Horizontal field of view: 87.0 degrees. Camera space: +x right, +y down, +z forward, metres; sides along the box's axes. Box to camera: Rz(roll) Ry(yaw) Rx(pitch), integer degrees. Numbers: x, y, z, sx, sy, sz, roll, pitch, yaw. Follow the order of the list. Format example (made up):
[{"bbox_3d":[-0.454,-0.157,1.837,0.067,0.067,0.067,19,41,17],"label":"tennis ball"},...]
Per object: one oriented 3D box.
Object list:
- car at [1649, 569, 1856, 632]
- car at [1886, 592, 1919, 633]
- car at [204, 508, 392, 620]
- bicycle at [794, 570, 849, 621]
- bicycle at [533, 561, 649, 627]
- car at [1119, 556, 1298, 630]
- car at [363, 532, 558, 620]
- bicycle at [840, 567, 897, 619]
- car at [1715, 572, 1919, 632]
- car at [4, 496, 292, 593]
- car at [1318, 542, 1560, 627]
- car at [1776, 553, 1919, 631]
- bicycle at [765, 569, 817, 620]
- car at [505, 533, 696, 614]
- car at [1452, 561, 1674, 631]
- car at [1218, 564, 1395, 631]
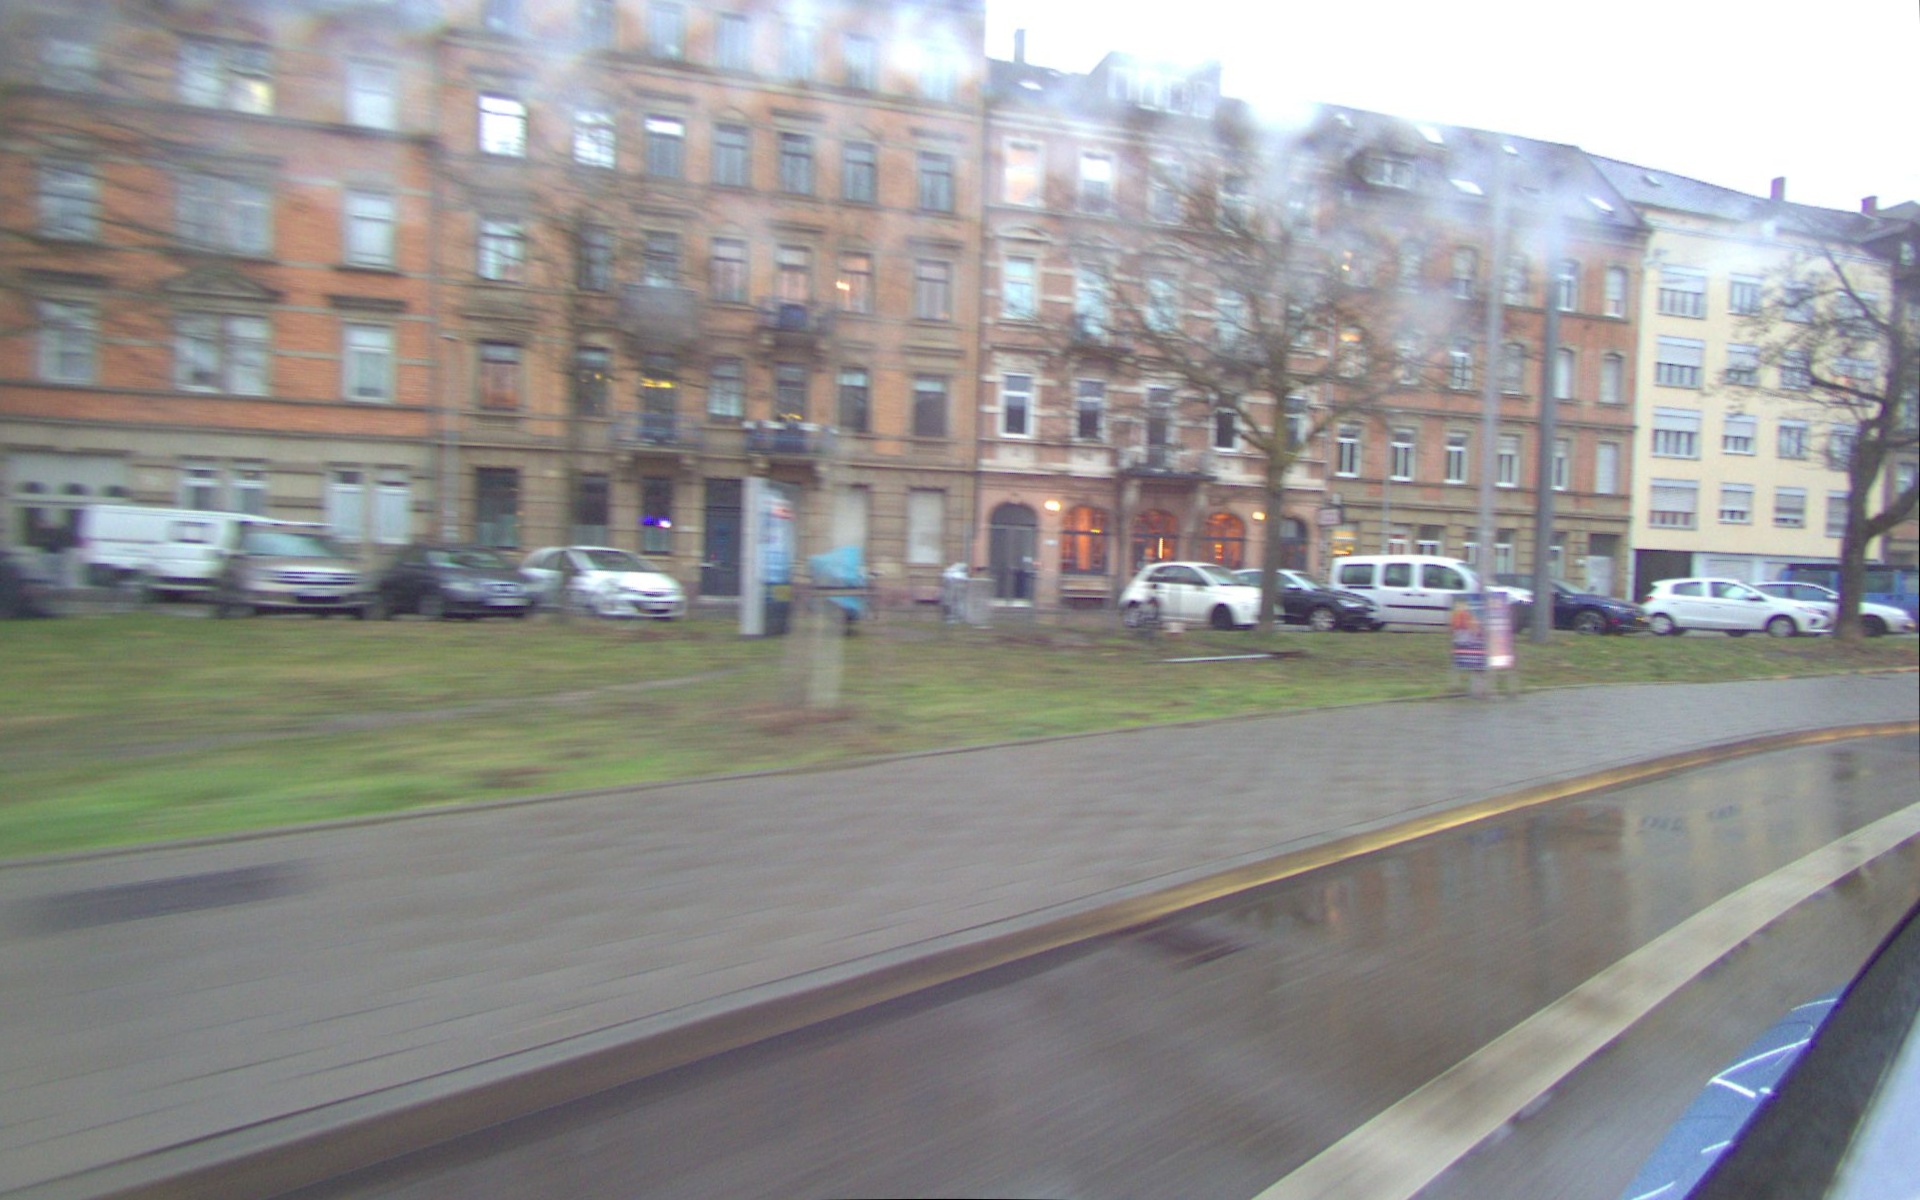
[{"bbox_3d":[19.513,0.007,25.041,1.730,1.450,3.770,0,0,-40],"label":"car"},{"bbox_3d":[37.535,0.468,38.209,4.090,1.496,1.755,0,0,-13],"label":"car"},{"bbox_3d":[-11.221,-0.674,17.046,1.912,1.656,3.991,-1,4,-44],"label":"car"},{"bbox_3d":[-2.913,-0.098,21.116,0.613,0.978,2.175,3,0,-21],"label":"bicycle"},{"bbox_3d":[-5.741,-0.105,15.776,1.624,0.948,0.513,3,2,7],"label":"bicycle"},{"bbox_3d":[5.306,-0.161,21.884,1.586,1.461,3.460,1,0,-42],"label":"car"},{"bbox_3d":[-8.675,-0.412,17.481,3.727,1.371,1.653,2,0,40],"label":"car"},{"bbox_3d":[-1.947,-0.177,21.256,0.613,0.978,2.176,1,2,-20],"label":"bicycle"},{"bbox_3d":[21.792,0.048,25.848,3.981,1.433,1.618,0,0,40],"label":"car"},{"bbox_3d":[-18.898,-1.271,23.859,4.881,2.038,2.005,1,3,-18],"label":"car"},{"bbox_3d":[10.869,-0.421,23.235,1.749,1.611,4.653,0,4,-45],"label":"car"},{"bbox_3d":[24.604,-0.205,26.750,4.701,2.008,1.773,1,0,40],"label":"car"},{"bbox_3d":[-3.535,-0.125,21.005,0.613,0.978,2.175,3,0,-21],"label":"bicycle"},{"bbox_3d":[-6.735,-0.526,18.799,3.843,1.353,1.673,3,2,41],"label":"car"},{"bbox_3d":[13.915,-0.123,23.511,1.740,1.249,4.058,1,4,-43],"label":"car"},{"bbox_3d":[7.799,-0.085,22.928,3.422,1.368,1.638,2,1,44],"label":"car"}]
